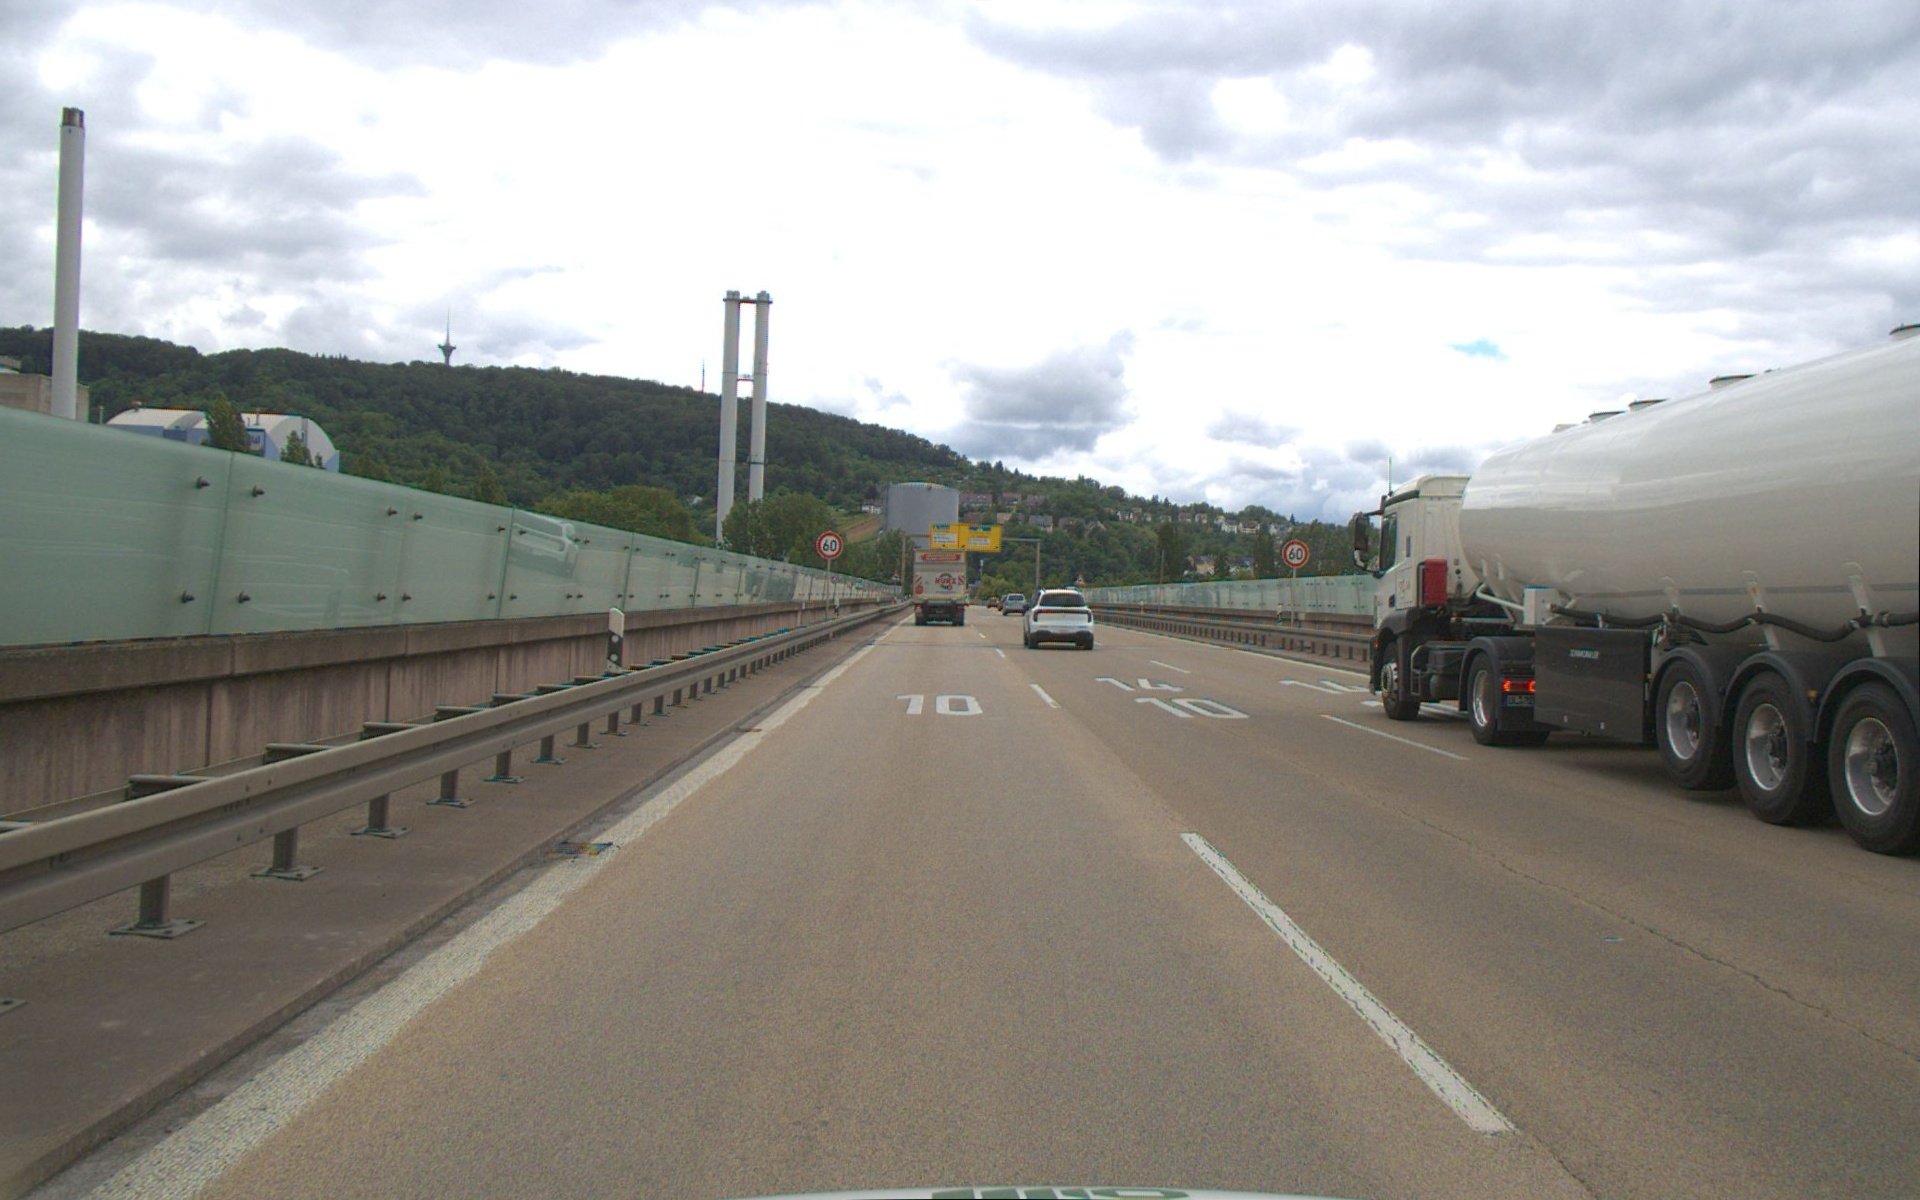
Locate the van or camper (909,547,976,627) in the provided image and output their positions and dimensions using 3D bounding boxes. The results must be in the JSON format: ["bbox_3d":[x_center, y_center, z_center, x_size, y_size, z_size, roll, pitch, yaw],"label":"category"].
[{"bbox_3d":[-0.791,-0.605,80.957,3.058,3.642,8.550,1,0,0],"label":"van or camper"}]

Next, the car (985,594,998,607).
[{"bbox_3d":[4.567,0.134,239.917,1.884,1.816,4.113,1,0,0],"label":"car"}]

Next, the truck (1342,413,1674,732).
[{"bbox_3d":[6.787,-0.320,21.210,2.577,3.575,4.903,1,0,0],"label":"truck"}]

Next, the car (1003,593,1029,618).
[{"bbox_3d":[4.318,0.420,128.890,1.884,1.816,4.113,1,0,0],"label":"car"}]

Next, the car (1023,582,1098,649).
[{"bbox_3d":[2.867,0.416,47.971,1.884,1.816,4.113,1,0,0],"label":"car"}]

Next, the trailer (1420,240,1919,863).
[{"bbox_3d":[6.824,-0.268,14.079,2.596,3.605,11.219,1,0,0],"label":"trailer"}]

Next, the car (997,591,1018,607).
[{"bbox_3d":[4.522,-0.102,155.710,1.884,1.459,4.114,1,0,2],"label":"car"}]
